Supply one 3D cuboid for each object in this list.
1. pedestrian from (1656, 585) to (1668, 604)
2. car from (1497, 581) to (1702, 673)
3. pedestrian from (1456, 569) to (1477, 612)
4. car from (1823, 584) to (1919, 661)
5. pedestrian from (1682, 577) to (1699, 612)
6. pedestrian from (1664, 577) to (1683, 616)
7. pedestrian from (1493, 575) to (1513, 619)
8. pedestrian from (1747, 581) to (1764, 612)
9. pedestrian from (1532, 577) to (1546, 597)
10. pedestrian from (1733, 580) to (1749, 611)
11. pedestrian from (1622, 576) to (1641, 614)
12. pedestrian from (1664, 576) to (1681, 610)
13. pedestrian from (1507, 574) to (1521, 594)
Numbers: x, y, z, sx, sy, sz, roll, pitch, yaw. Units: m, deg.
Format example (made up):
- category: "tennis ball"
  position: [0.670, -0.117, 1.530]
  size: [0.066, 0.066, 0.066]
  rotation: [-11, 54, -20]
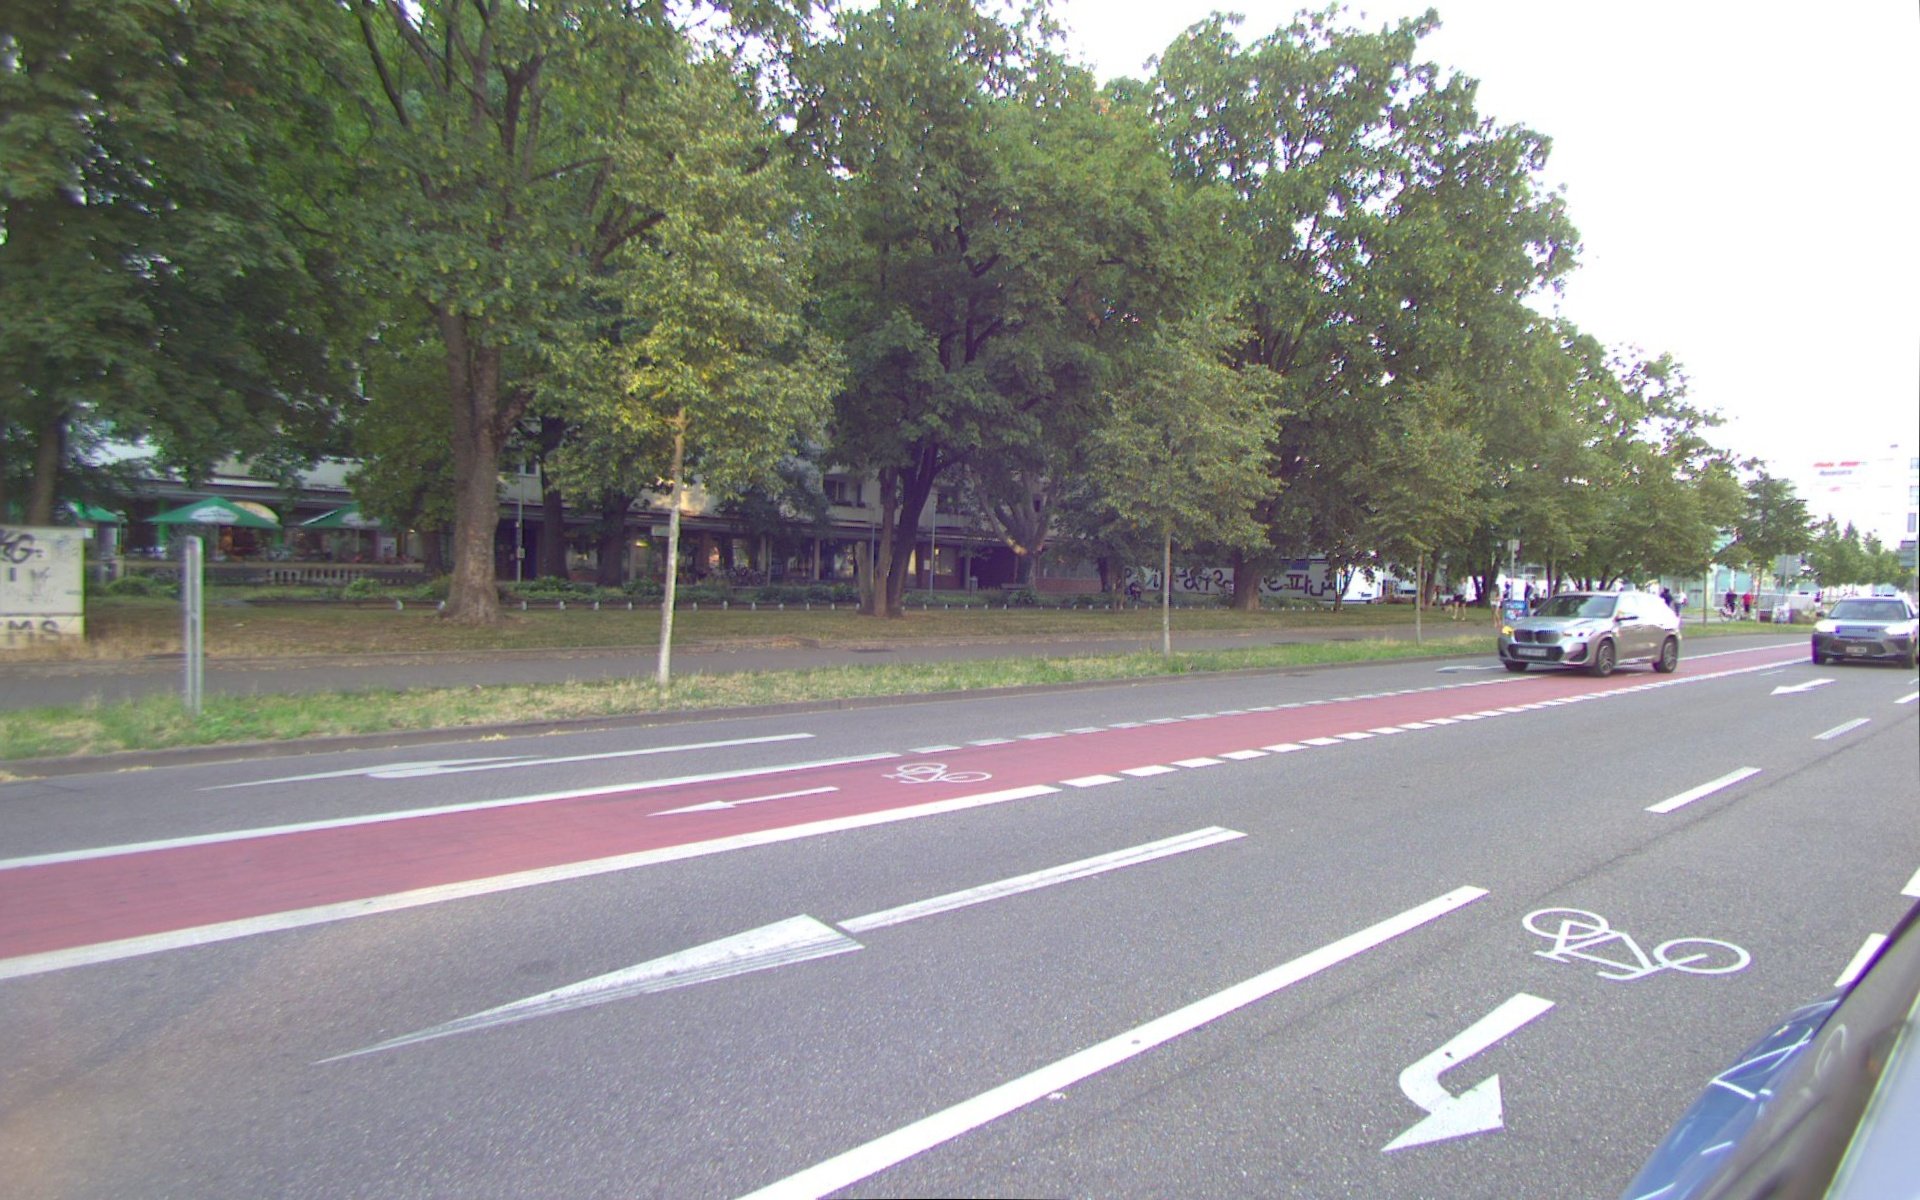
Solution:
- category: "pedestrian"
  position: [49.495, -0.385, 71.355]
  size: [0.427, 1.371, 0.508]
  rotation: [0, 2, -40]
- category: "car"
  position: [12.699, 0.485, 20.049]
  size: [4.252, 1.642, 1.828]
  rotation: [0, 0, -33]
- category: "pedestrian"
  position: [19.232, -0.354, 38.425]
  size: [0.513, 1.621, 0.500]
  rotation: [0, 2, -41]
- category: "car"
  position: [21.968, 0.482, 23.892]
  size: [4.141, 1.647, 1.781]
  rotation: [0, 1, -41]
- category: "pedestrian"
  position: [37.335, -0.268, 51.751]
  size: [0.707, 1.751, 0.508]
  rotation: [0, 2, -41]
- category: "pedestrian"
  position: [32.884, -0.175, 46.632]
  size: [0.546, 1.760, 0.558]
  rotation: [0, 2, -41]
- category: "pedestrian"
  position: [20.214, -0.104, 37.664]
  size: [0.359, 1.621, 0.500]
  rotation: [1, 2, -40]
- category: "pedestrian"
  position: [47.153, -0.222, 59.978]
  size: [0.497, 1.779, 0.638]
  rotation: [0, 2, -40]
- category: "pedestrian"
  position: [40.455, -0.916, 70.704]
  size: [0.550, 1.371, 0.662]
  rotation: [0, 2, -40]
- category: "pedestrian"
  position: [46.735, -0.277, 60.551]
  size: [0.497, 1.779, 0.638]
  rotation: [0, 2, -40]
- category: "pedestrian"
  position: [31.573, -0.249, 47.593]
  size: [0.707, 1.751, 0.508]
  rotation: [0, 2, -41]
- category: "pedestrian"
  position: [36.984, -0.366, 52.552]
  size: [0.707, 1.751, 0.519]
  rotation: [0, 2, -40]
- category: "pedestrian"
  position: [39.124, -1.154, 71.473]
  size: [0.669, 1.371, 0.631]
  rotation: [0, 2, -41]
